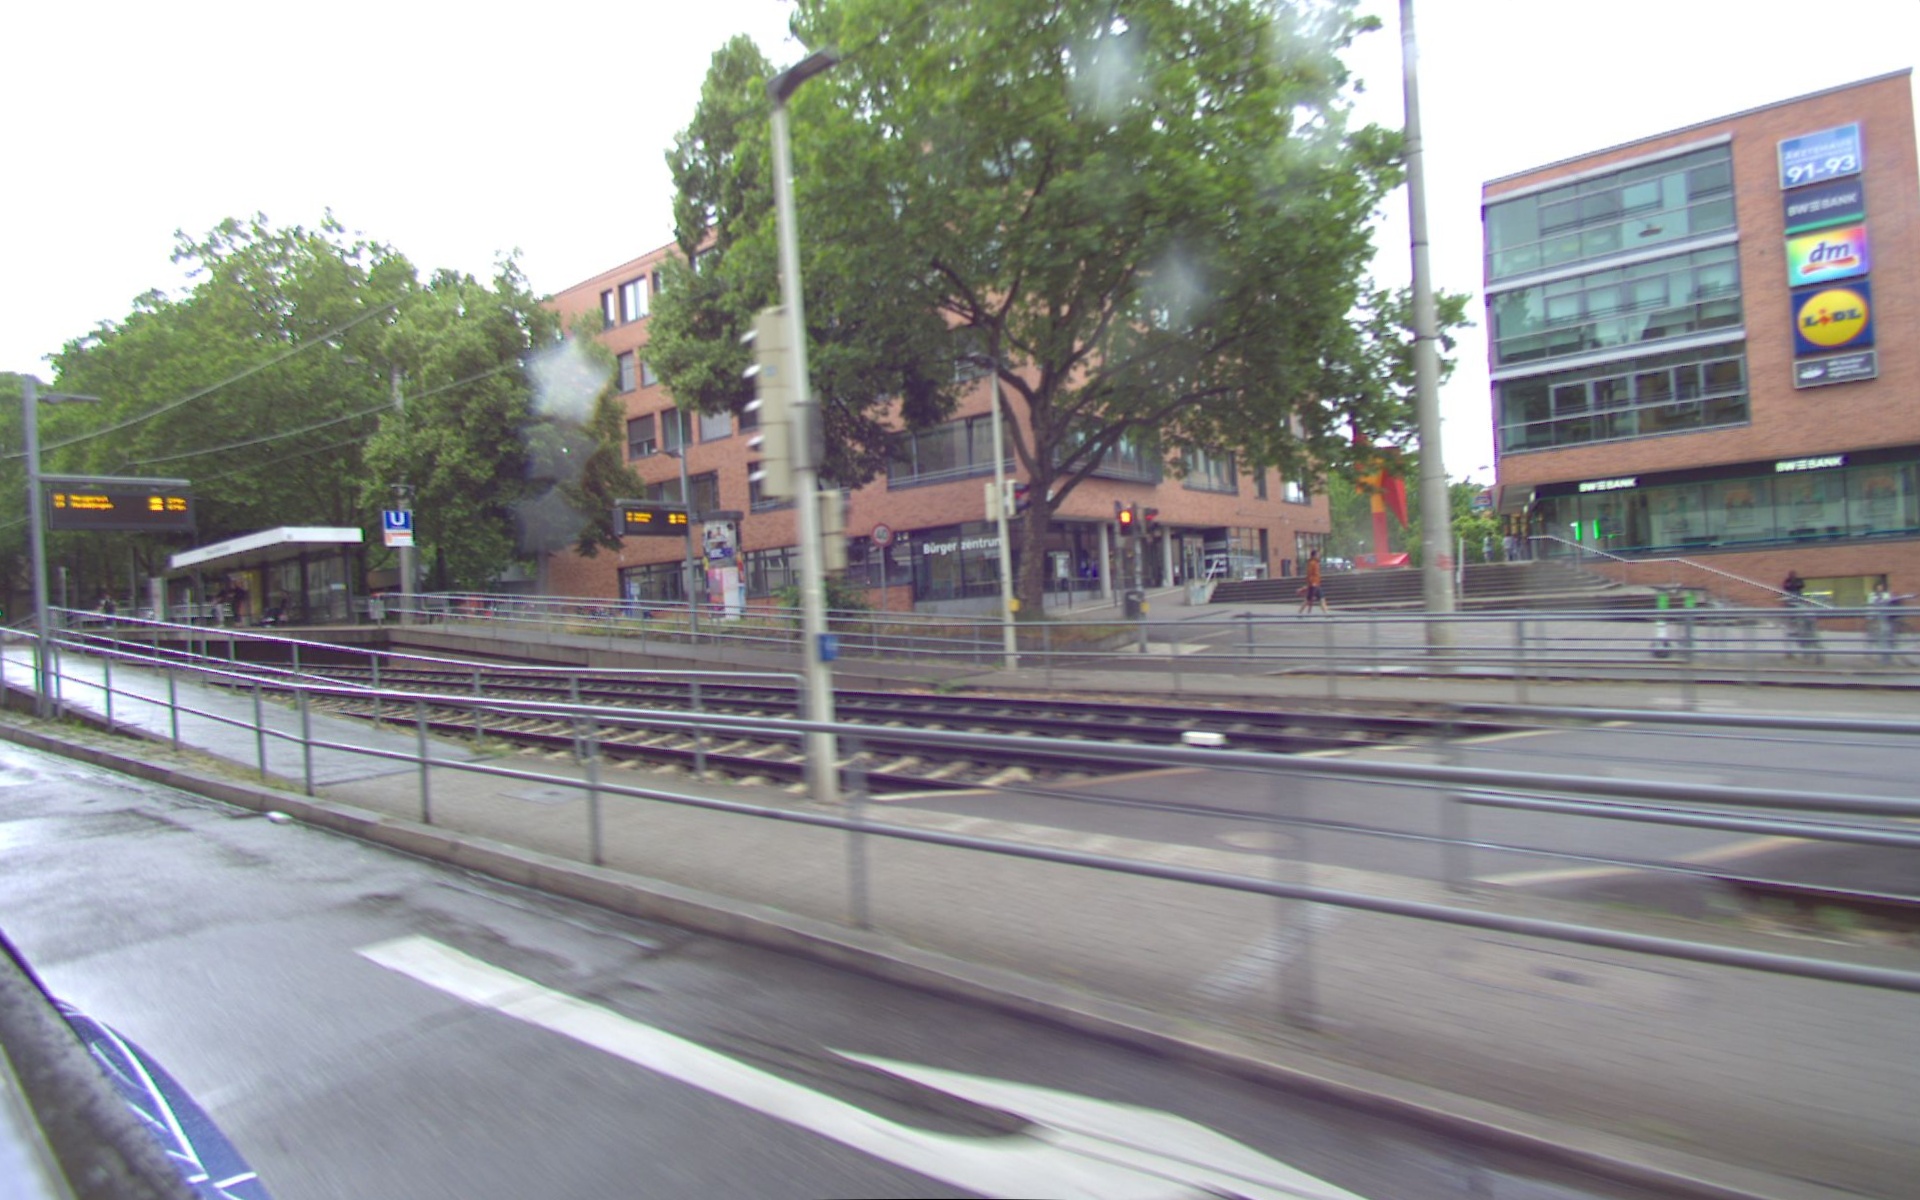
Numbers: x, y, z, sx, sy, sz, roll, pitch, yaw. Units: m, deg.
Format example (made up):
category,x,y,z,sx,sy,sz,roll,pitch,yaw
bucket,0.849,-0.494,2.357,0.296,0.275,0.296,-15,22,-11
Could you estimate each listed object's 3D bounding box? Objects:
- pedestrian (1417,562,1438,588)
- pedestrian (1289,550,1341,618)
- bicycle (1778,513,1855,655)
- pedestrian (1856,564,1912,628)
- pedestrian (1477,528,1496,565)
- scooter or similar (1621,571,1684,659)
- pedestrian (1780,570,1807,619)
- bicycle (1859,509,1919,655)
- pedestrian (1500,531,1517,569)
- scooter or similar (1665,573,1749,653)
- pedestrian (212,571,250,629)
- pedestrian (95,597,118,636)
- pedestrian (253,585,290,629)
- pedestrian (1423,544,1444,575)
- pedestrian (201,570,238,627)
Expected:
category,x,y,z,sx,sy,sz,roll,pitch,yaw
pedestrian,28.736,-1.539,62.211,0.841,1.542,0.731,-2,0,-28
pedestrian,9.507,-0.447,27.141,0.779,1.757,1.073,-2,4,-19
bicycle,12.961,-0.257,15.351,0.517,2.028,1.877,-2,1,30
pedestrian,25.745,-0.112,28.211,1.007,1.743,0.888,-2,0,37
pedestrian,25.667,-2.615,49.360,0.724,1.743,0.643,-2,0,24
scooter or similar,11.432,0.219,16.745,0.449,1.381,1.497,-2,0,20
pedestrian,27.656,-0.179,33.583,0.590,1.578,0.514,-2,1,35
bicycle,13.827,-0.281,14.859,0.517,2.028,1.877,-2,1,30
pedestrian,25.561,-2.325,47.137,0.645,1.743,0.613,-2,0,30
scooter or similar,11.905,0.196,16.185,0.474,1.203,1.710,-2,0,16
pedestrian,-26.692,-0.004,37.048,0.882,2.078,0.828,-2,0,33
pedestrian,-40.391,0.767,47.896,0.702,1.804,0.669,-2,-1,37
pedestrian,-23.778,0.240,34.951,0.882,1.494,0.773,-2,0,33
pedestrian,24.723,-2.115,52.884,0.615,1.562,0.718,-2,0,-17
pedestrian,-27.701,-0.061,37.856,0.882,2.078,0.828,-2,0,33
